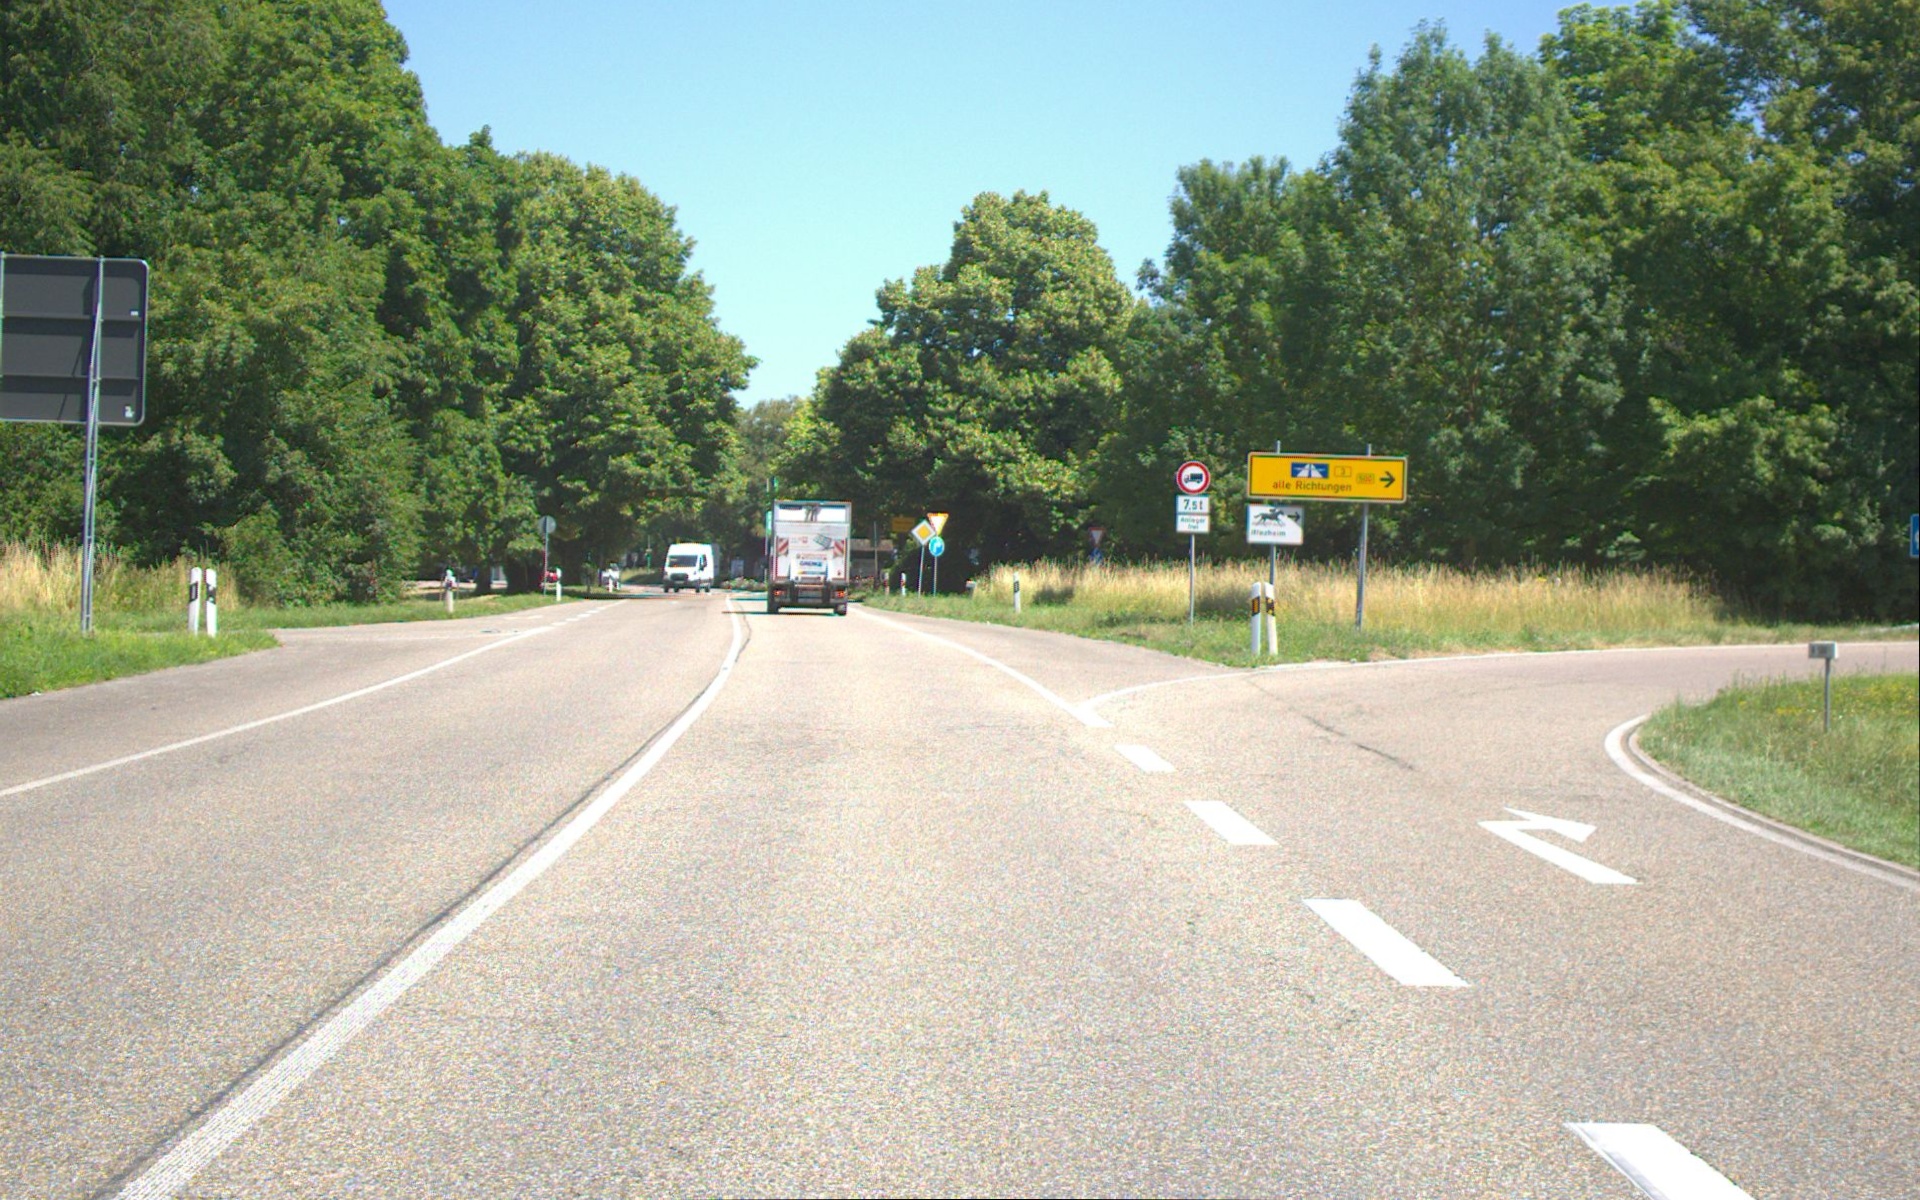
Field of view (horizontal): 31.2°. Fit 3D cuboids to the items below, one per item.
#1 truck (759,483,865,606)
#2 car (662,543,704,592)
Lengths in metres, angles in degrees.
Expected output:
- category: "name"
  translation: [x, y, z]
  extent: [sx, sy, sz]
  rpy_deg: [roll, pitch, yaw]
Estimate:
- category: "truck"
  translation: [-3.904, -1.485, 91.507]
  extent: [2.533, 3.124, 5.361]
  rpy_deg: [1, 1, 0]
- category: "car"
  translation: [-15.470, -1.803, 192.080]
  extent: [2.073, 2.618, 6.784]
  rpy_deg: [1, 0, -3]
